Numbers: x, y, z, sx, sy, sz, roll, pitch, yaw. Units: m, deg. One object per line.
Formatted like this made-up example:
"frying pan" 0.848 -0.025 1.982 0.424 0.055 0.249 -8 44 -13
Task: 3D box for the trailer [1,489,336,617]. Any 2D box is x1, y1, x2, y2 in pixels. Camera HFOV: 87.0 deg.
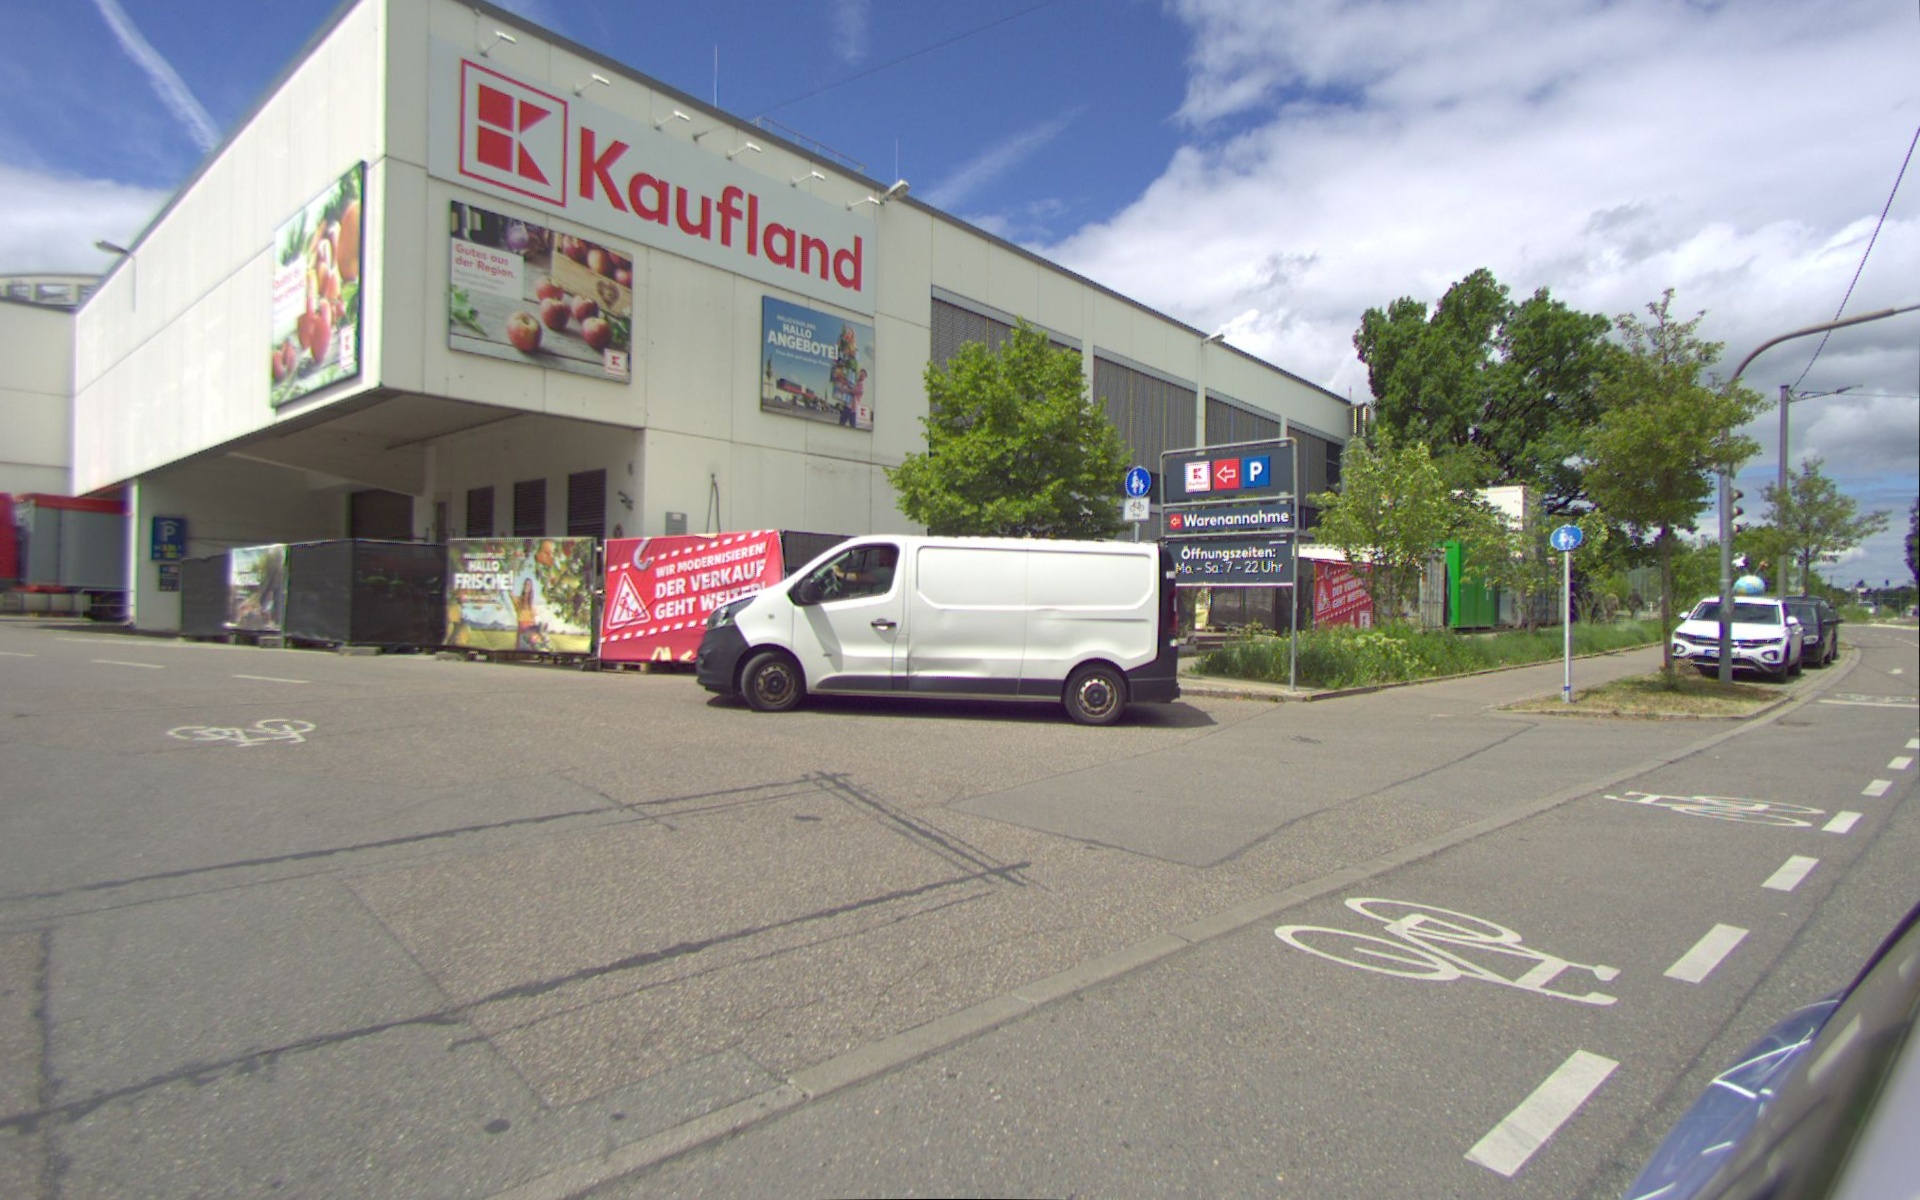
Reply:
"trailer" -27.347 -1.465 35.523 2.589 3.911 8.942 -1 -1 38

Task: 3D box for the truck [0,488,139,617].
"truck" -30.017 -1.438 32.074 2.589 3.911 5.824 -1 -1 38

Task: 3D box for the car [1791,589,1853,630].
"car" 34.605 0.373 40.695 1.697 1.551 3.945 -1 -1 38

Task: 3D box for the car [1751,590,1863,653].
"car" 22.740 0.541 27.130 1.994 1.547 3.749 -1 -1 44

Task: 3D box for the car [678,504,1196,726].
"car" -0.254 0.107 11.400 5.250 2.048 2.001 3 2 1

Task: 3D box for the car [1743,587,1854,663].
"car" 19.678 0.522 23.708 3.729 1.580 1.599 -1 3 -45

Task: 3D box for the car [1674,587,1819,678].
"car" 15.587 0.548 19.983 1.791 1.549 3.858 4 3 44
